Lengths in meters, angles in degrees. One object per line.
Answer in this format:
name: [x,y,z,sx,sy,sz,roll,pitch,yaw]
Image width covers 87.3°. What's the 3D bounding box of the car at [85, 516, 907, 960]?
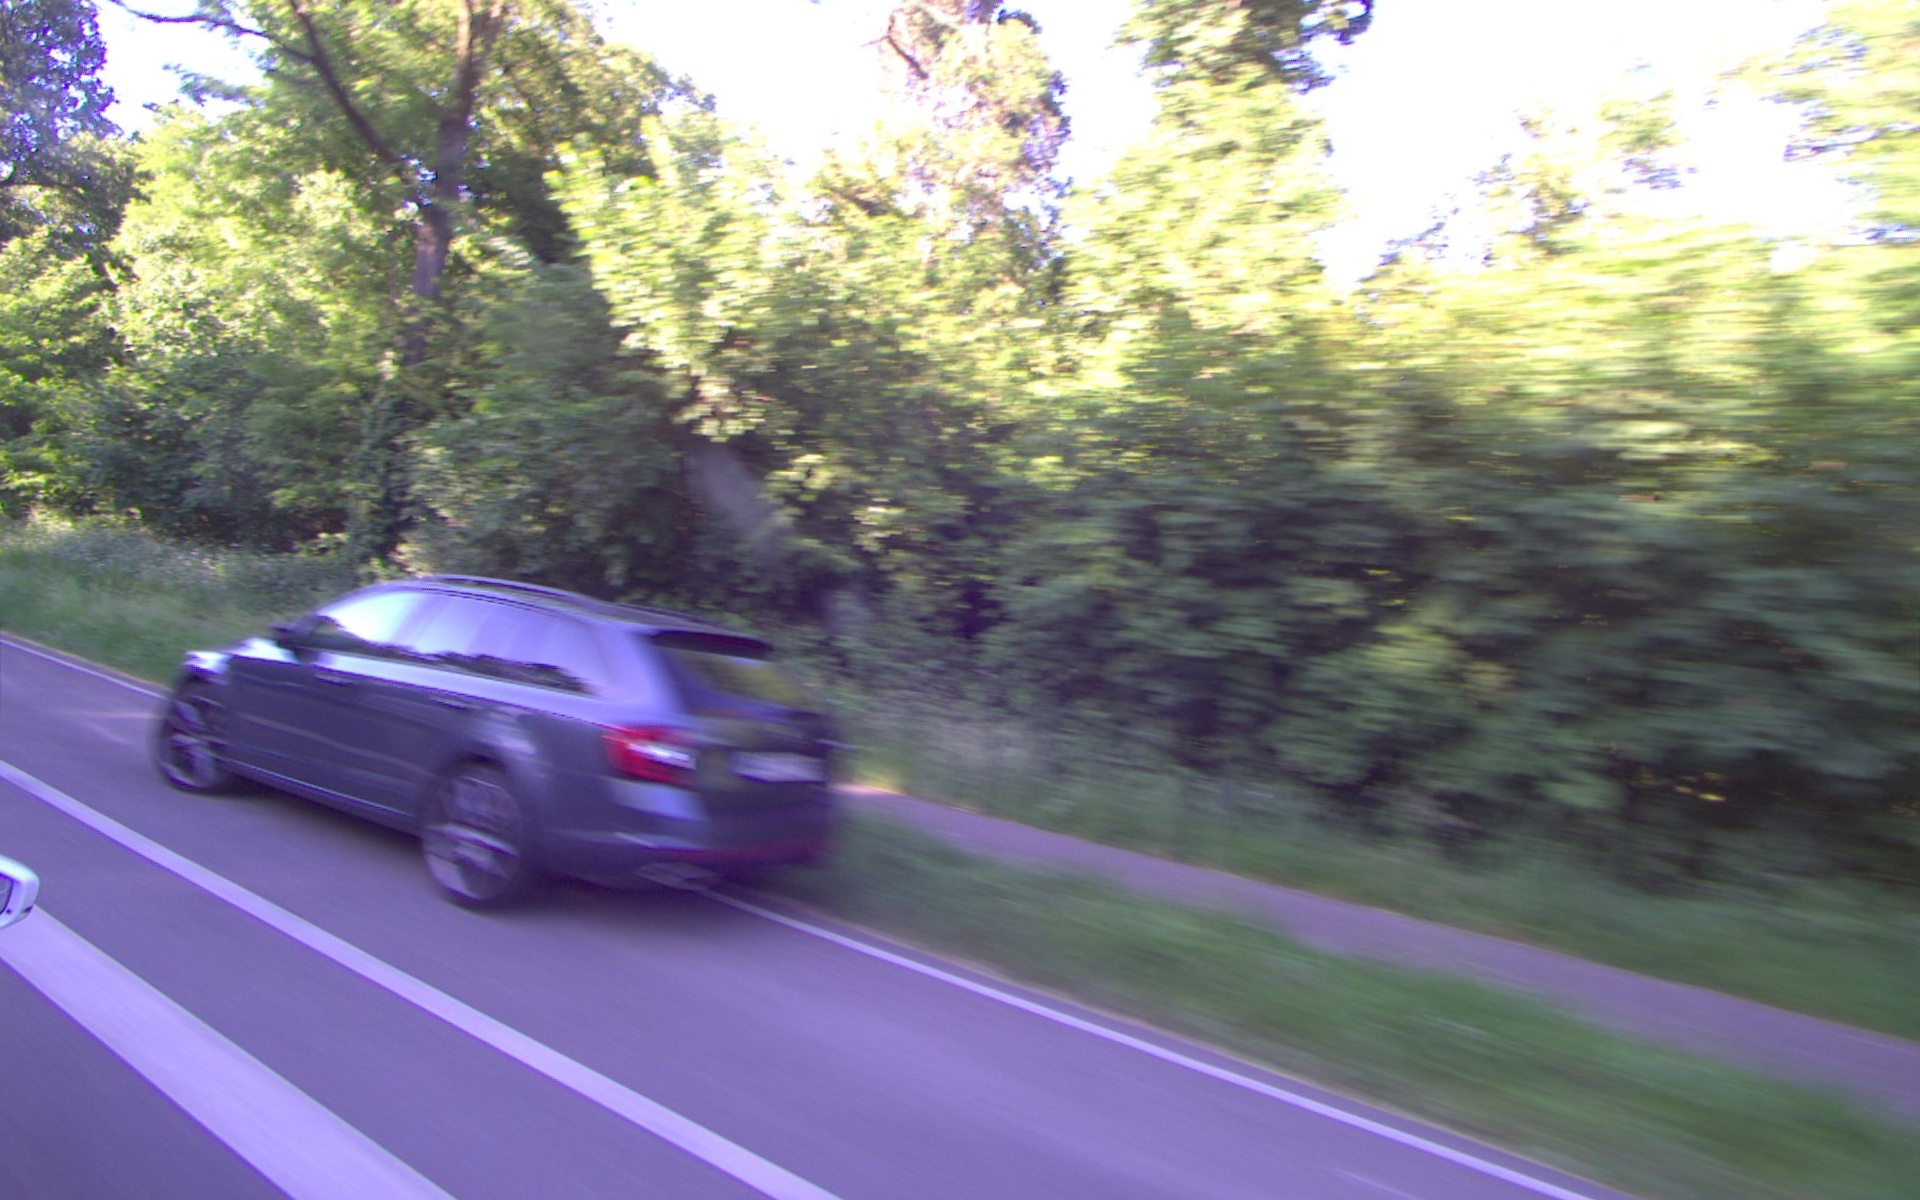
car: [-2.786,0.559,5.820,4.517,1.436,1.841,7,-3,29]
